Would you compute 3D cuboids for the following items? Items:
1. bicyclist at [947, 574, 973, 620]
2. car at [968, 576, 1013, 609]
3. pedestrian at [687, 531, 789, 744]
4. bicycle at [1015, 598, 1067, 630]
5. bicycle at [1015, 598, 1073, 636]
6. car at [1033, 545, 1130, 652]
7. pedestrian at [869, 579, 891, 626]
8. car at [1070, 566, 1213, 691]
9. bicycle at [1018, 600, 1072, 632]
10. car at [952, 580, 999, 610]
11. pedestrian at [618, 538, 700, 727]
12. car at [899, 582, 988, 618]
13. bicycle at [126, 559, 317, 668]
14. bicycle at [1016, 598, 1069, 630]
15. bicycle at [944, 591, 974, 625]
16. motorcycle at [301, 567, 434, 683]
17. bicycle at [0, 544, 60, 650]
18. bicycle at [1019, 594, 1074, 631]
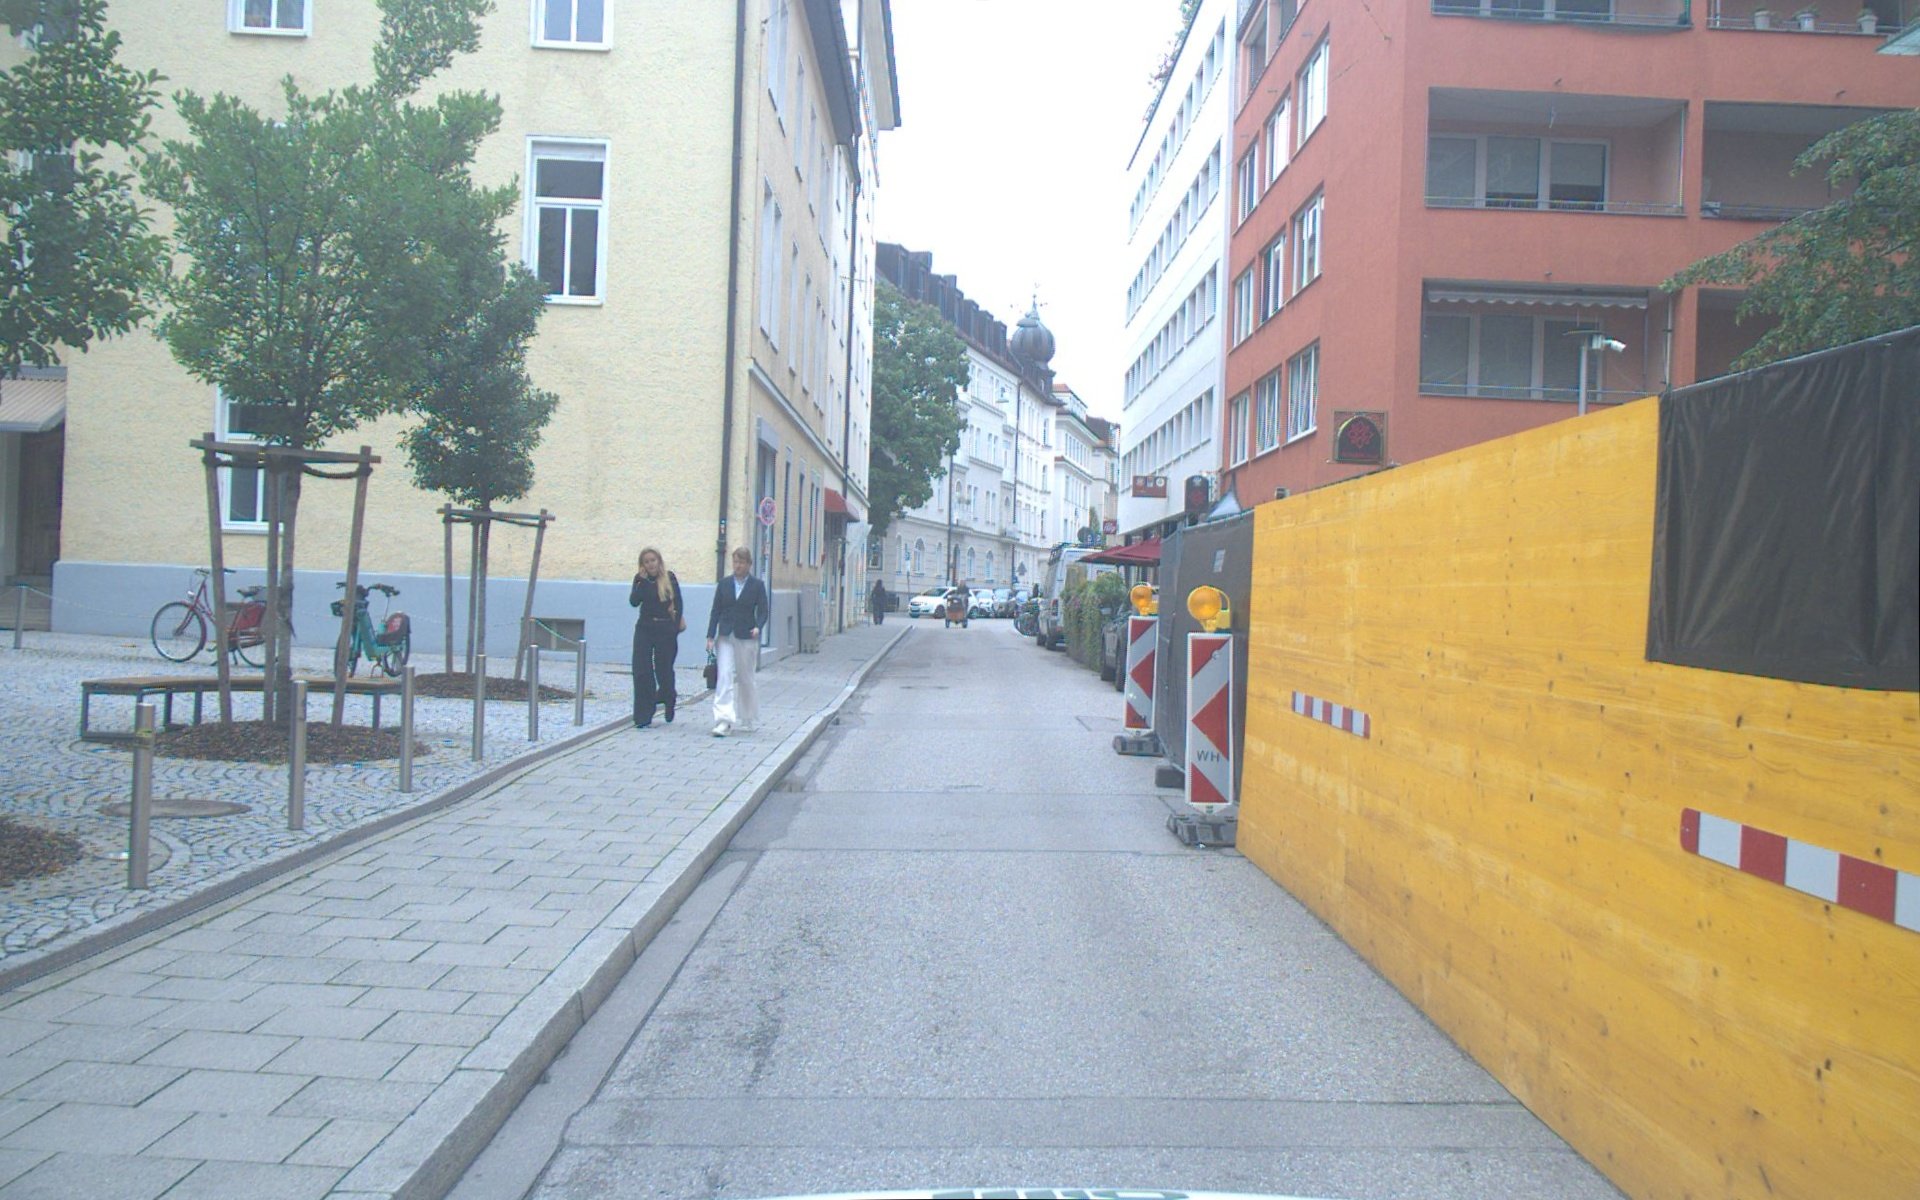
[{"bbox_3d":[-0.006,-0.115,64.335,0.907,1.751,1.100,1,0,5],"label":"bicyclist"},{"bbox_3d":[1.729,-0.399,93.387,1.901,1.732,4.003,3,0,10],"label":"car"},{"bbox_3d":[-2.029,0.335,15.236,0.760,1.868,0.991,2,0,-1],"label":"pedestrian"},{"bbox_3d":[2.943,0.509,60.121,1.837,1.098,0.408,2,1,-4],"label":"bicycle"},{"bbox_3d":[2.799,0.555,55.175,1.836,1.127,0.488,4,1,-3],"label":"bicycle"},{"bbox_3d":[3.132,-0.068,43.894,1.881,2.549,5.996,3,0,-1],"label":"car"},{"bbox_3d":[-2.878,0.089,59.500,0.679,1.660,0.663,3,0,-1],"label":"pedestrian"},{"bbox_3d":[2.816,0.408,26.533,1.786,1.740,4.389,3,0,1],"label":"car"},{"bbox_3d":[3.022,0.563,58.985,1.837,1.070,0.564,2,-1,-4],"label":"bicycle"},{"bbox_3d":[0.879,-0.274,88.494,1.951,1.499,4.222,2,0,8],"label":"car"},{"bbox_3d":[-2.813,0.293,15.520,0.541,1.688,0.997,2,0,-1],"label":"pedestrian"},{"bbox_3d":[-0.754,0.005,76.645,3.736,1.605,1.971,1,0,-40],"label":"car"},{"bbox_3d":[-8.965,0.157,20.120,1.933,1.193,0.748,3,0,4],"label":"bicycle"},{"bbox_3d":[2.981,0.502,59.682,1.837,1.098,0.402,2,1,-4],"label":"bicycle"},{"bbox_3d":[-0.027,0.321,64.046,0.912,1.279,2.415,1,0,5],"label":"bicycle"},{"bbox_3d":[-6.567,0.273,18.448,0.564,1.193,1.982,3,0,5],"label":"motorcycle"},{"bbox_3d":[-12.830,-0.107,20.542,2.794,1.273,0.767,3,0,-1],"label":"bicycle"},{"bbox_3d":[2.970,0.434,57.110,1.836,1.225,0.579,1,0,-3],"label":"bicycle"}]
